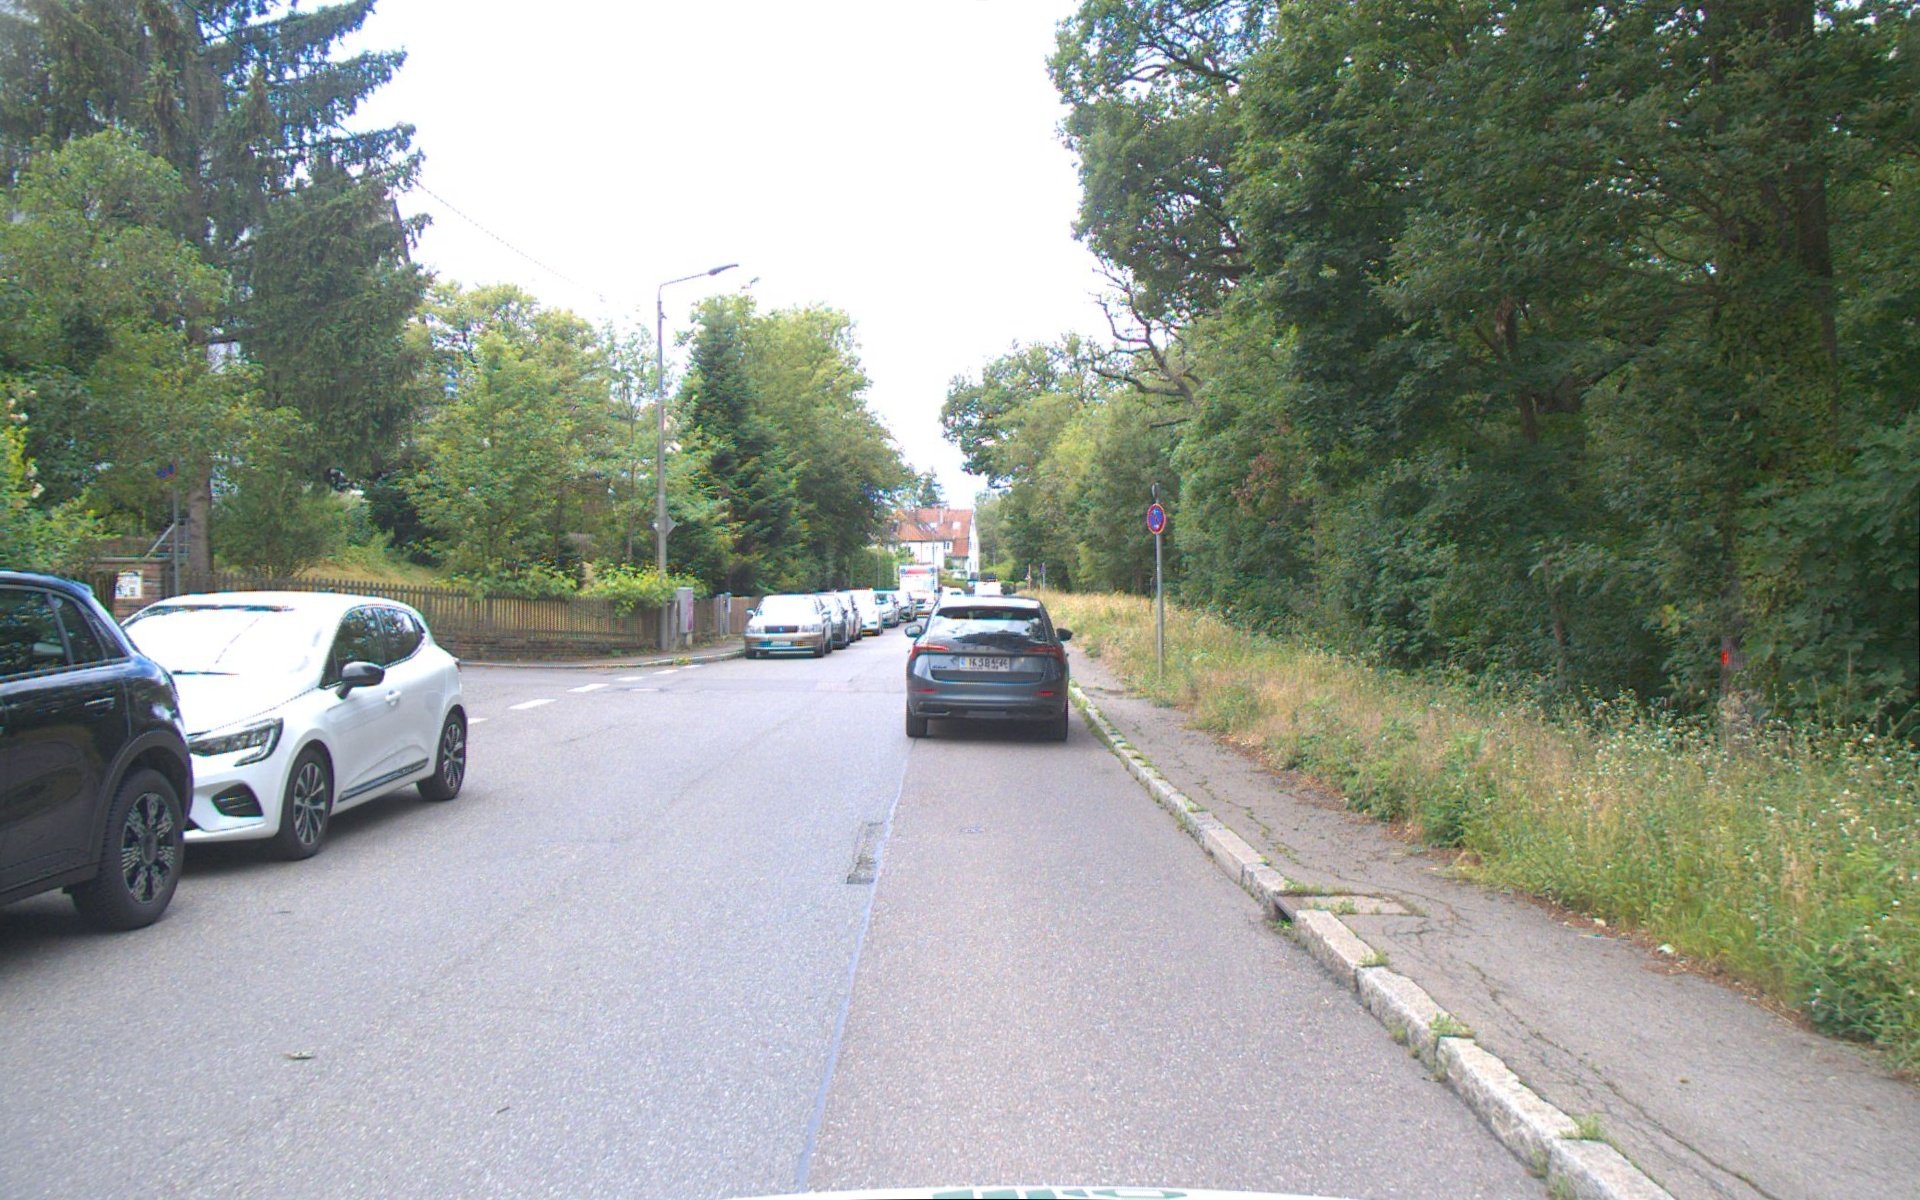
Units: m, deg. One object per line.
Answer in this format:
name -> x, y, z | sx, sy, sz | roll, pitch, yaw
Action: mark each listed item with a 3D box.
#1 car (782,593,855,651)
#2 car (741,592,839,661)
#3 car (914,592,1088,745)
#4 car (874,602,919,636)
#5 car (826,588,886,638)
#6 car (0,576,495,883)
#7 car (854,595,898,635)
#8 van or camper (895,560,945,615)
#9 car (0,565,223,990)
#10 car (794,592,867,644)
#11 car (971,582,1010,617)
car -> -3.762, 0.549, 44.600 | 1.699, 1.464, 4.261 | -1, 0, -2
car -> -3.903, 0.566, 38.600 | 1.810, 1.464, 4.909 | -1, 0, -1
car -> 0.344, 0.669, 18.458 | 1.693, 1.464, 4.322 | 1, 1, -2
car -> -3.061, 0.909, 80.564 | 1.760, 1.531, 4.865 | -2, 0, 3
car -> -3.570, 0.413, 57.532 | 1.878, 1.589, 4.602 | -2, 0, -2
car -> -4.335, 0.634, 10.299 | 1.747, 1.526, 4.014 | 1, 0, 0
car -> -3.446, 0.592, 68.019 | 1.686, 1.531, 4.006 | -2, 0, -3
van or camper -> -2.308, -0.710, 92.858 | 2.408, 2.945, 7.161 | -1, 0, -5
car -> -4.312, 0.629, 5.708 | 1.747, 1.526, 4.014 | 1, 0, 0
car -> -3.905, 0.515, 50.421 | 1.797, 1.464, 4.117 | -2, 0, 1
car -> 1.784, -0.050, 97.899 | 2.030, 1.956, 4.920 | 1, 1, -2
